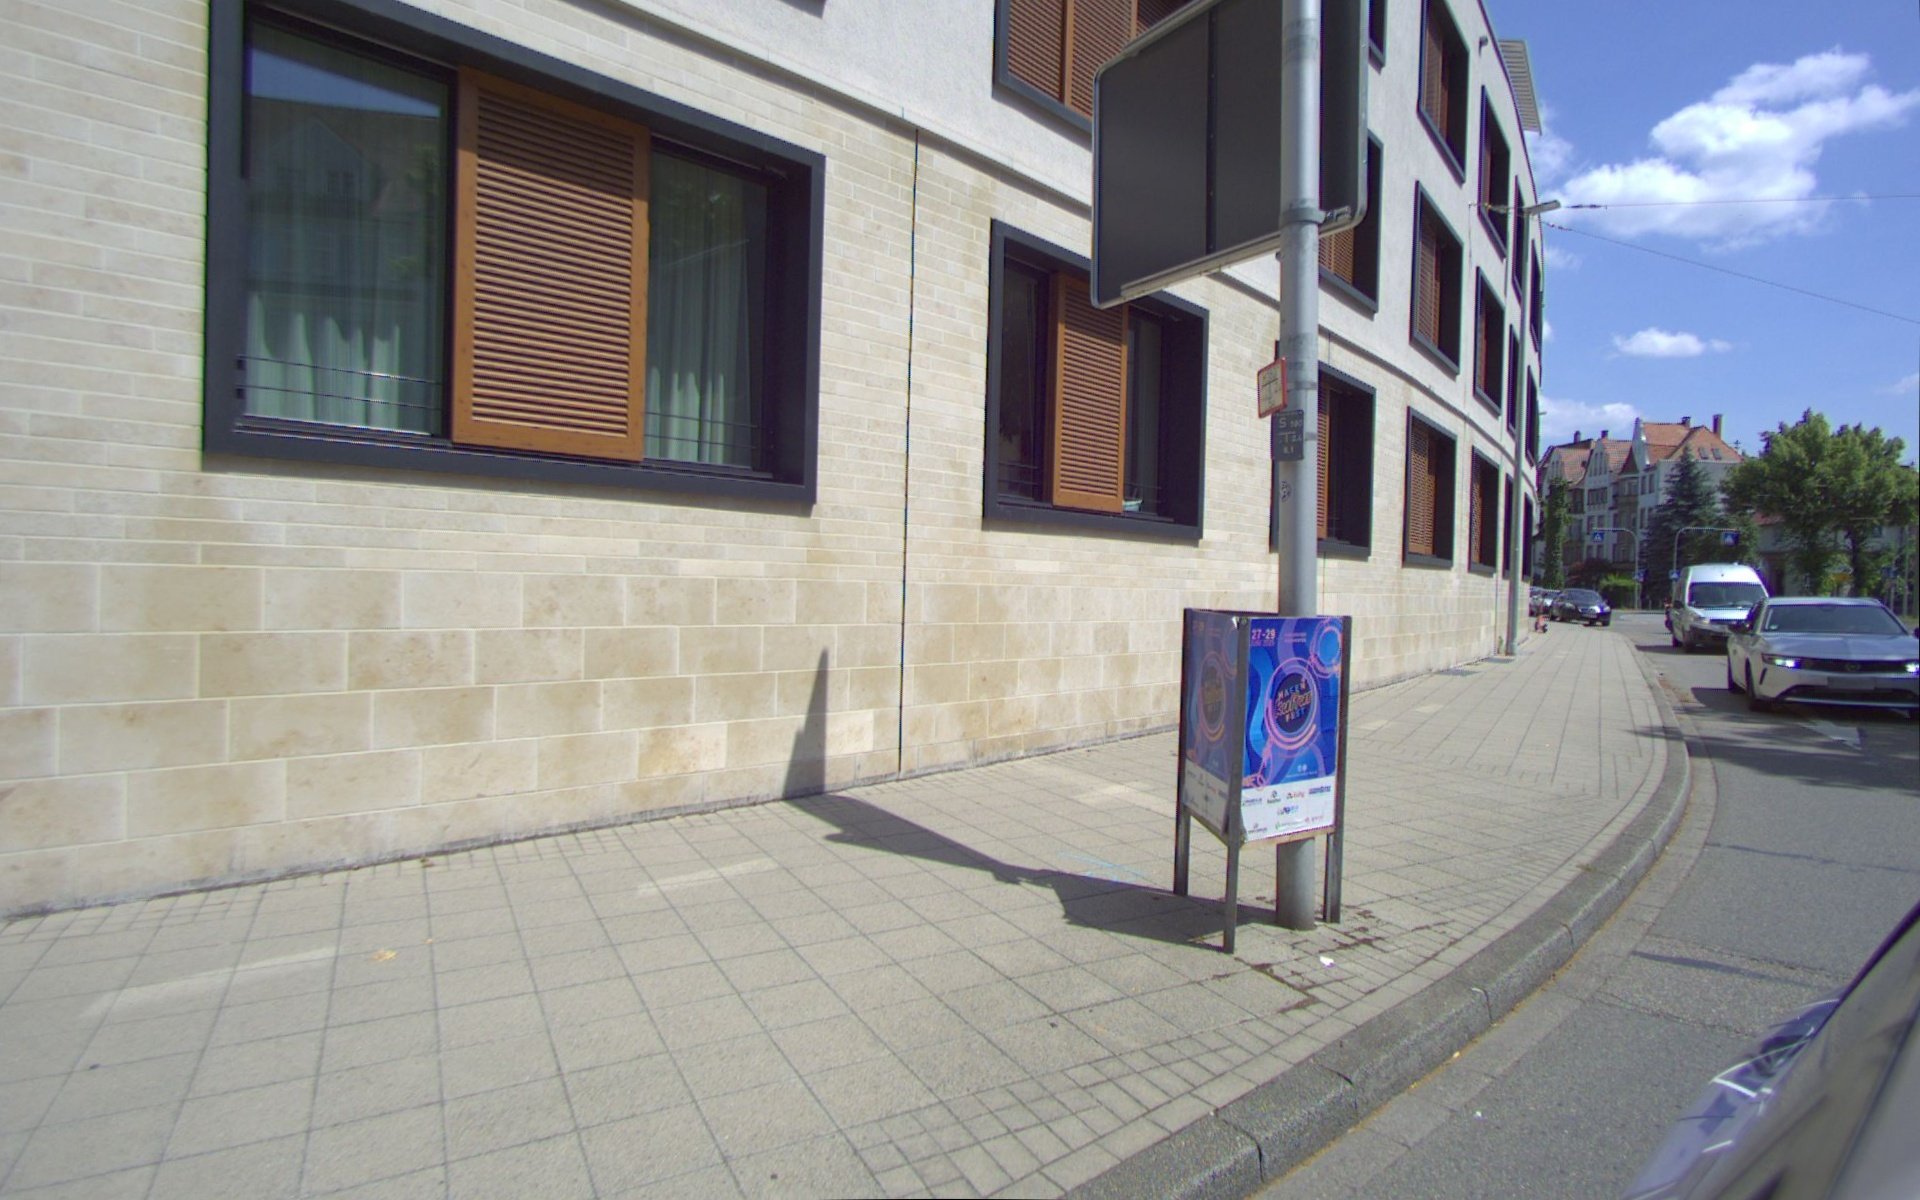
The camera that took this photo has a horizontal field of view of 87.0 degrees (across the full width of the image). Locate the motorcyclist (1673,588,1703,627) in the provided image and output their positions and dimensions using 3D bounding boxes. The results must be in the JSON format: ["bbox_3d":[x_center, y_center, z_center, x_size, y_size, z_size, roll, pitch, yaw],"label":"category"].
[{"bbox_3d":[25.534,0.249,35.493,0.732,1.354,1.153,-1,-1,41],"label":"motorcyclist"}]

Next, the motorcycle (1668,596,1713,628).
[{"bbox_3d":[25.731,0.398,35.639,1.053,1.093,2.578,0,0,41],"label":"motorcycle"}]

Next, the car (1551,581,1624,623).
[{"bbox_3d":[26.926,0.023,43.582,1.785,1.527,4.515,5,3,22],"label":"car"}]

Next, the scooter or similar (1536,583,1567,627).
[{"bbox_3d":[17.768,0.140,30.428,0.577,1.276,1.356,4,2,24],"label":"scooter or similar"}]

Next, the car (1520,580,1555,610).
[{"bbox_3d":[35.152,-0.337,61.591,1.719,1.630,3.759,4,3,31],"label":"car"}]

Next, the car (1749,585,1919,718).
[{"bbox_3d":[11.491,0.546,13.207,1.792,1.484,4.116,0,1,37],"label":"car"}]

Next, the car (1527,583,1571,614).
[{"bbox_3d":[31.655,-0.105,54.477,1.717,1.450,4.004,6,3,28],"label":"car"}]

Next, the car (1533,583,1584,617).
[{"bbox_3d":[29.674,-0.032,50.257,1.581,1.450,3.677,5,3,23],"label":"car"}]

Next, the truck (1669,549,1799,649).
[{"bbox_3d":[19.687,-0.062,25.965,2.005,2.277,5.349,0,1,31],"label":"truck"}]
